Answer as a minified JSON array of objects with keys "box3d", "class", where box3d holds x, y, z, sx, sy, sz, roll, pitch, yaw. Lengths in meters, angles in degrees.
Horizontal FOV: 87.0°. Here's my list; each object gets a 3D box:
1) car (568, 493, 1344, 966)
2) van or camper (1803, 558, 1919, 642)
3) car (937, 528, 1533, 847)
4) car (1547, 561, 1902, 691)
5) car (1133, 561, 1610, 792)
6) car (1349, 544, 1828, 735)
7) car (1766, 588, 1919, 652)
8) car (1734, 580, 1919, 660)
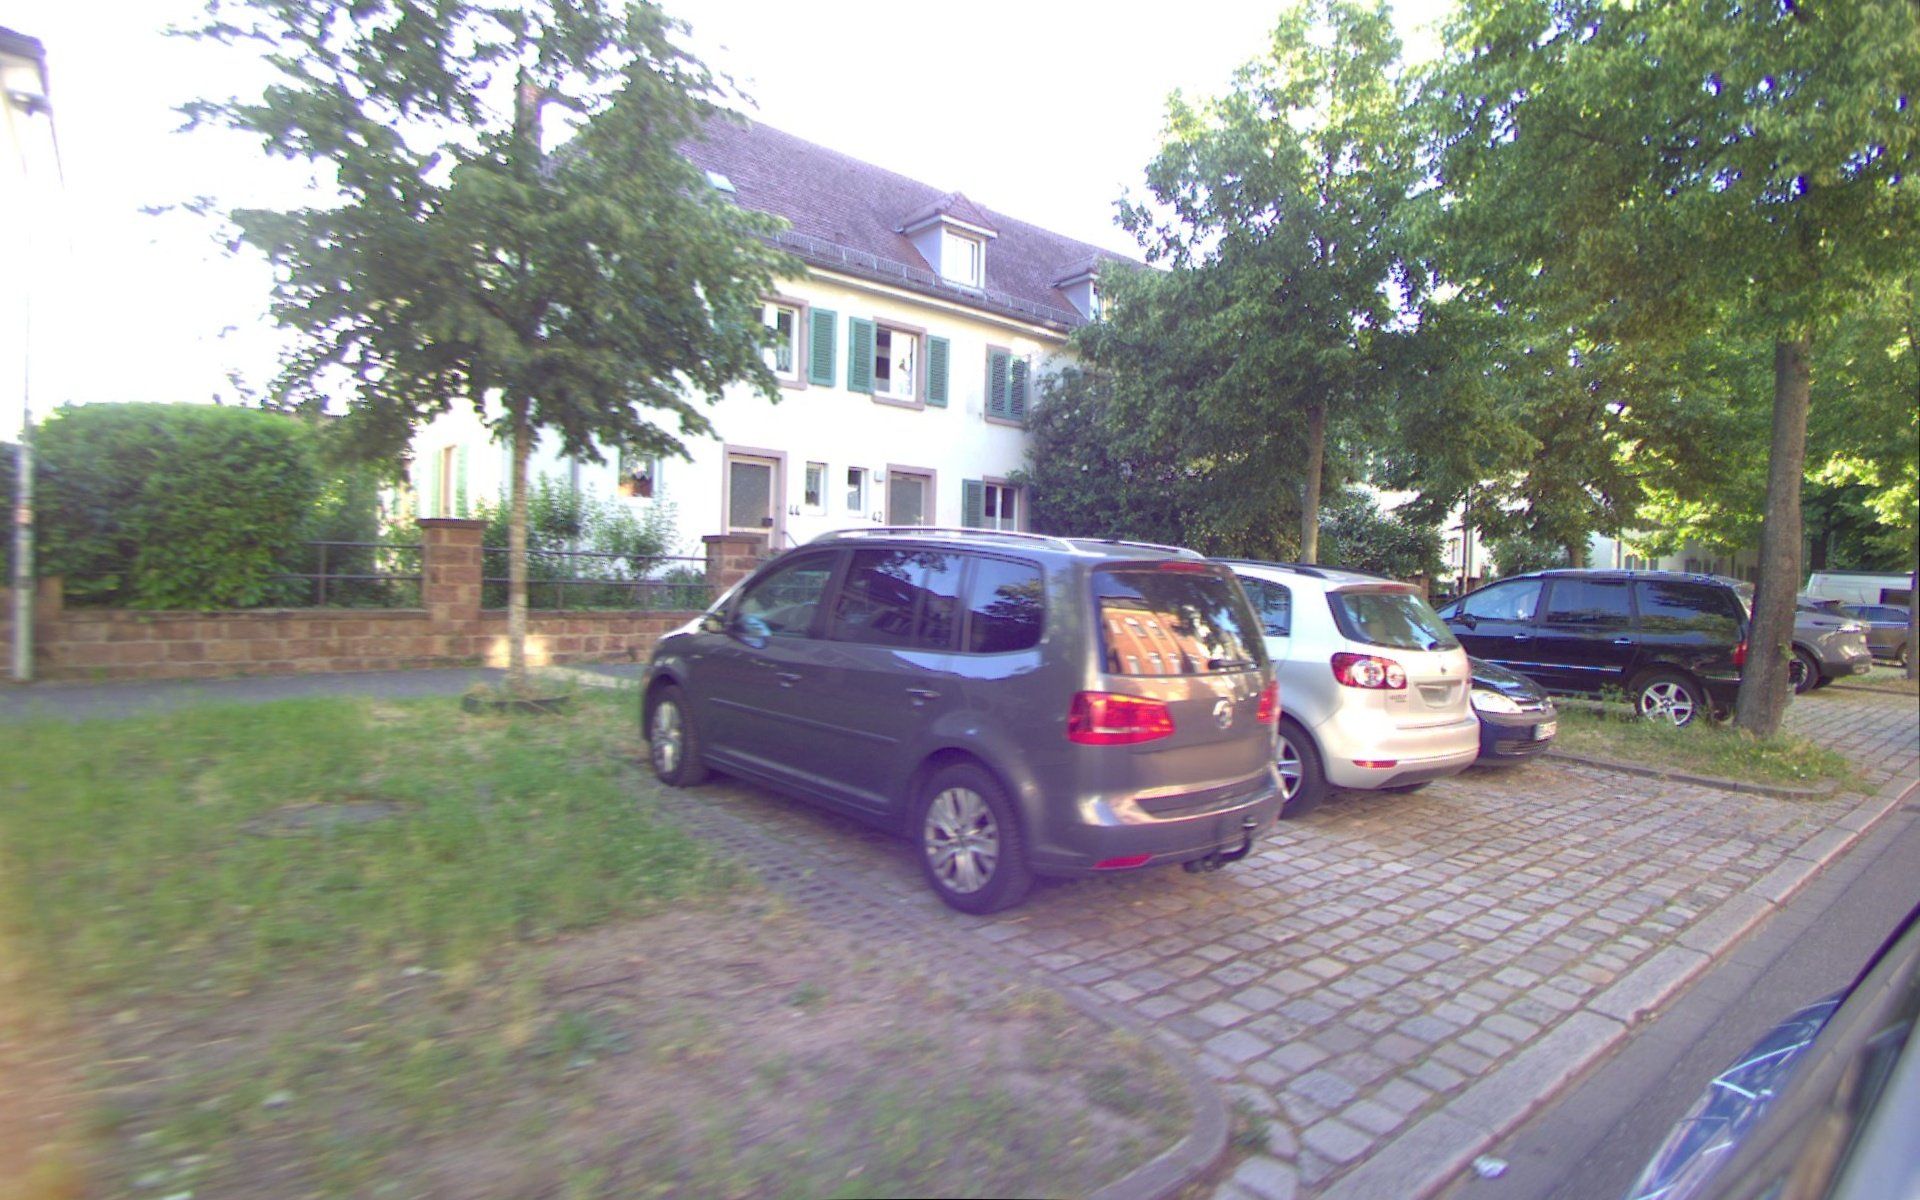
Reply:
[{"box3d":[-0.401,0.313,5.928,4.543,1.653,1.783,7,5,44],"class":"car"},{"box3d":[31.912,0.079,33.476,2.124,2.546,5.735,1,5,-40],"class":"van or camper"},{"box3d":[1.774,0.385,7.891,1.659,1.653,4.288,1,5,-37],"class":"car"},{"box3d":[12.906,0.328,17.351,1.842,1.653,4.487,1,5,-41],"class":"car"},{"box3d":[3.592,0.517,9.387,1.561,1.470,3.732,1,5,-40],"class":"car"},{"box3d":[7.497,0.310,12.554,1.872,1.697,4.597,1,5,-38],"class":"car"},{"box3d":[25.980,0.575,28.762,1.795,1.452,4.488,1,5,-40],"class":"car"},{"box3d":[22.103,0.506,24.637,1.862,1.557,4.848,1,5,-42],"class":"car"}]
